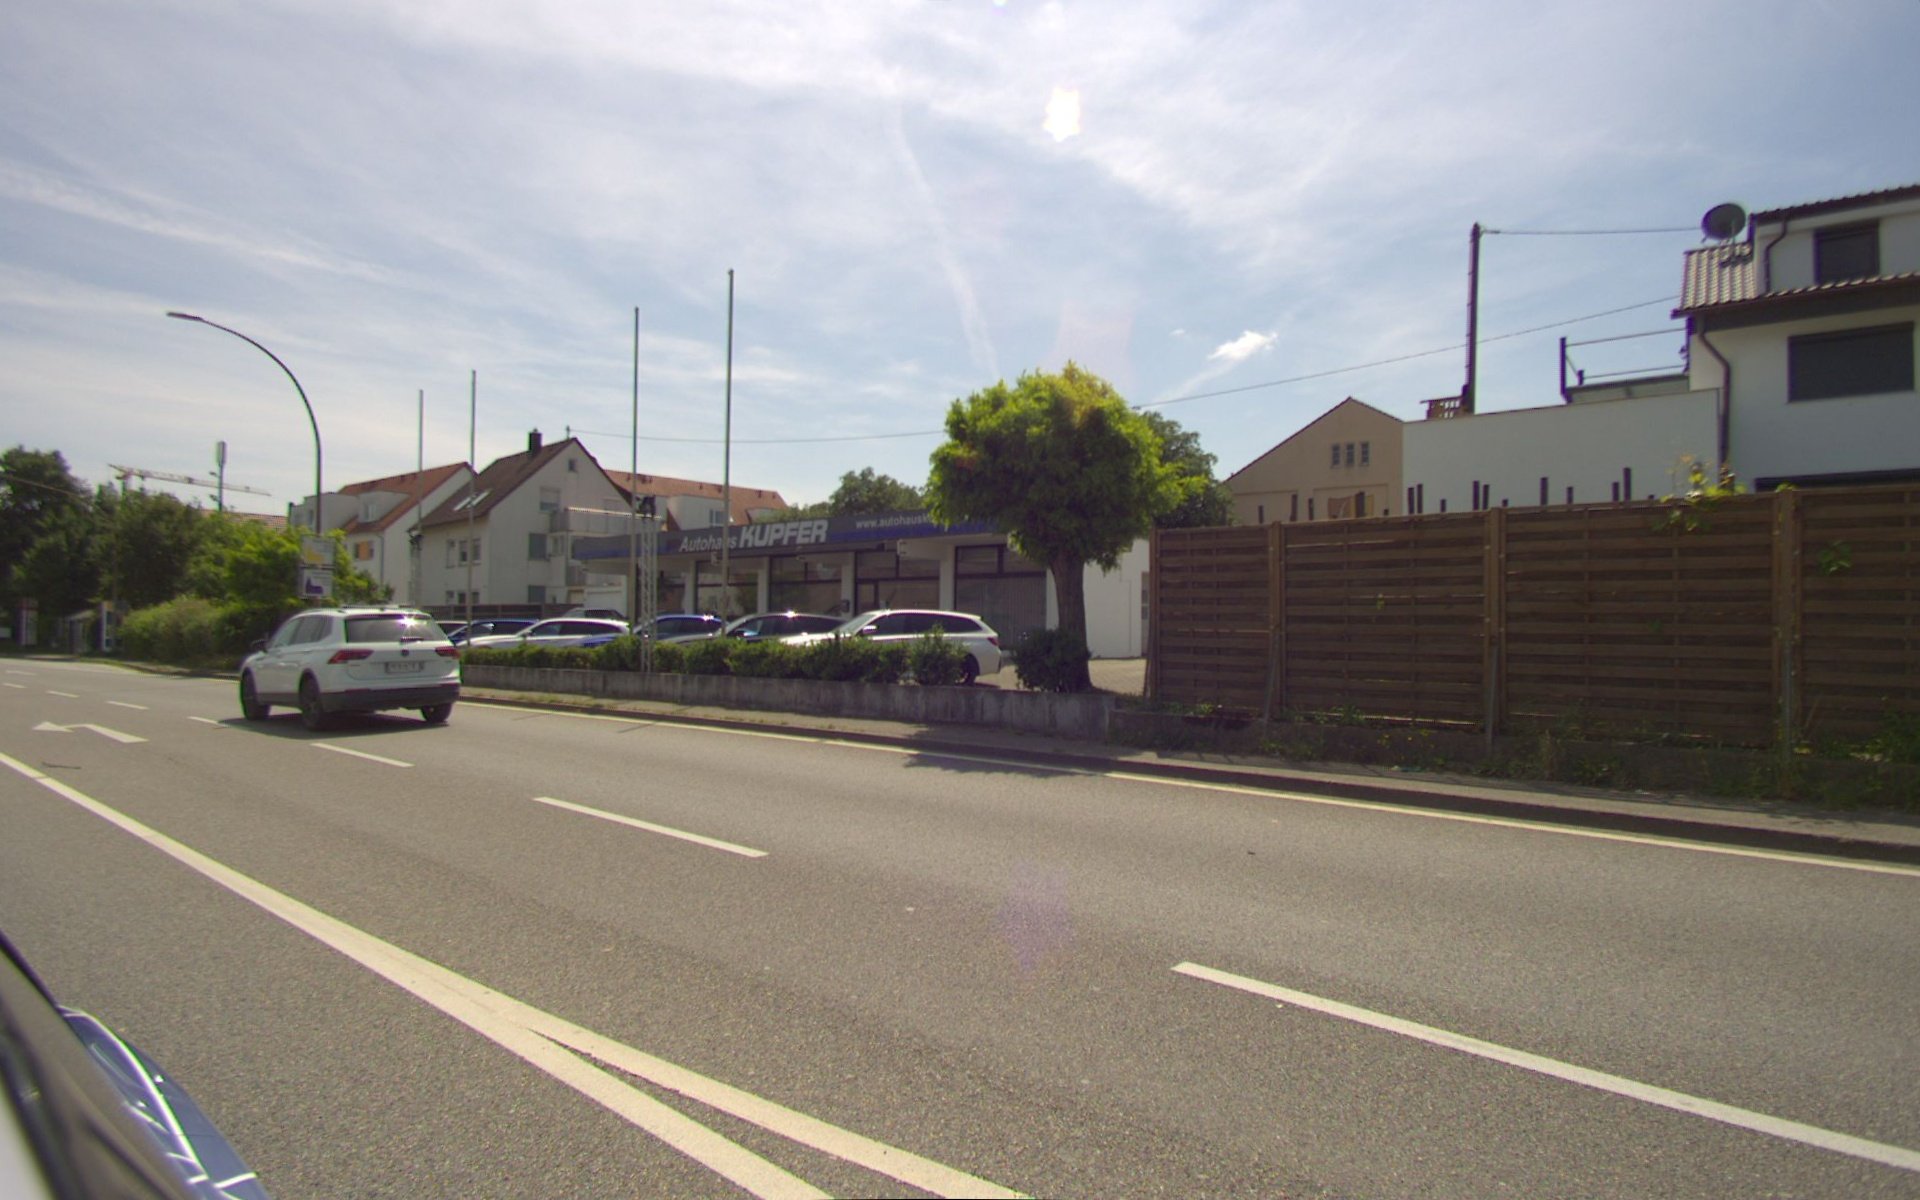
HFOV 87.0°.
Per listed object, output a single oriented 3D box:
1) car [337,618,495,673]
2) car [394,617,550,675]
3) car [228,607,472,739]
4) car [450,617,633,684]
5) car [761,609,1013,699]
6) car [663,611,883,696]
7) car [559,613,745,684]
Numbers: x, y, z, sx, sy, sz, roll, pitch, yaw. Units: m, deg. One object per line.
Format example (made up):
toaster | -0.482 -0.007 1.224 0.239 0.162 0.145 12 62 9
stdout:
car | -16.972 1.388 31.829 4.192 1.541 2.007 -1 -1 -23
car | -14.076 1.294 29.408 3.931 1.475 2.007 -1 -1 -23
car | -9.181 0.988 15.079 4.401 1.668 1.827 -2 -1 41
car | -10.814 1.266 26.326 4.239 1.530 2.006 -1 -1 -22
car | -1.358 0.933 18.810 4.264 1.471 1.861 -1 -1 -25
car | -3.934 1.058 21.363 4.187 1.557 1.856 -1 -1 -27
car | -7.213 1.088 23.691 3.931 1.453 1.860 -1 -1 -24
